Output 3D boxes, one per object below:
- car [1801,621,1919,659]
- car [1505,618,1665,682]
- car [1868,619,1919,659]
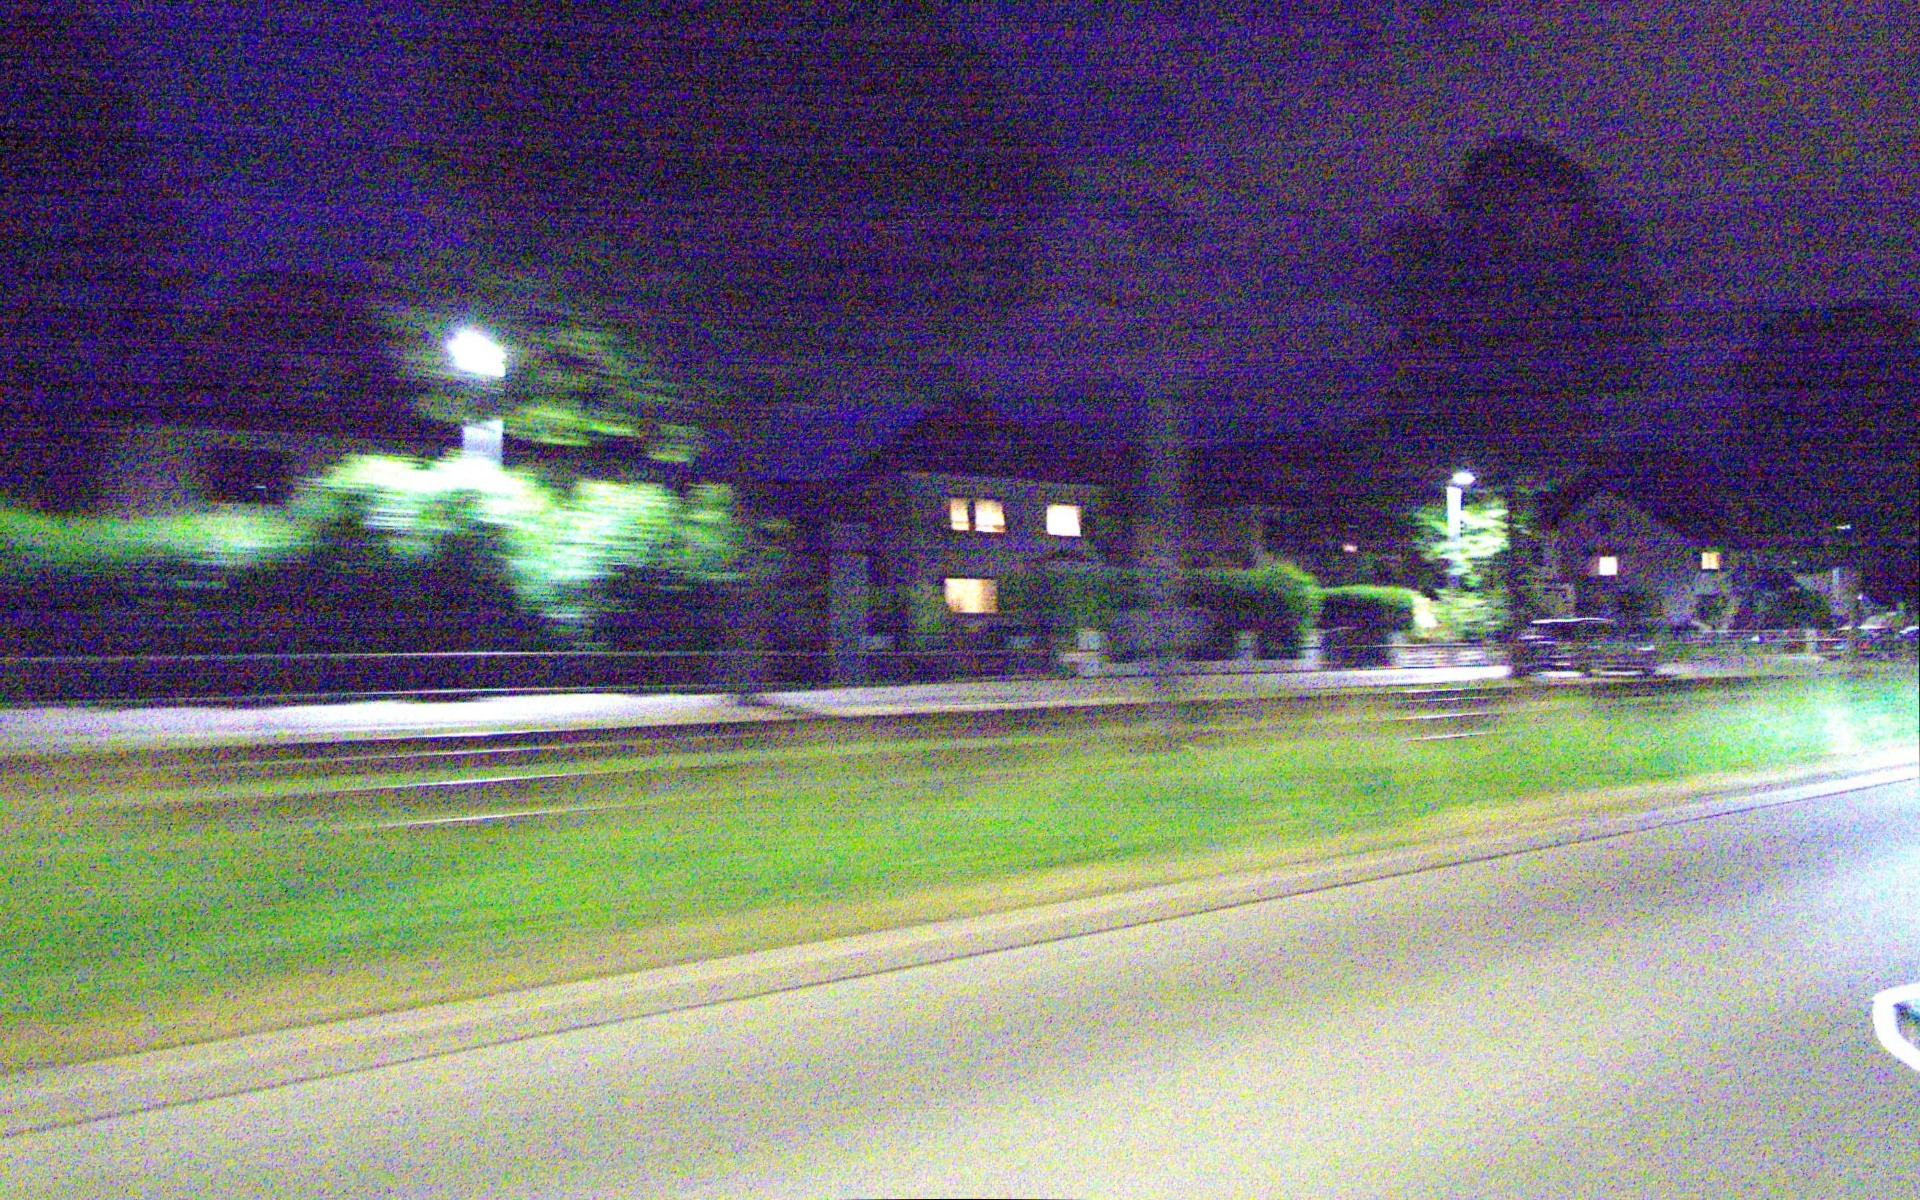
[{"bbox_3d":[34.106,1.497,37.971,5.370,1.356,1.983,1,-1,-31],"label":"car"},{"bbox_3d":[17.534,1.355,28.134,4.624,1.650,1.983,1,-1,-31],"label":"car"},{"bbox_3d":[39.148,1.571,41.050,3.955,1.550,1.983,1,-1,-31],"label":"car"}]
